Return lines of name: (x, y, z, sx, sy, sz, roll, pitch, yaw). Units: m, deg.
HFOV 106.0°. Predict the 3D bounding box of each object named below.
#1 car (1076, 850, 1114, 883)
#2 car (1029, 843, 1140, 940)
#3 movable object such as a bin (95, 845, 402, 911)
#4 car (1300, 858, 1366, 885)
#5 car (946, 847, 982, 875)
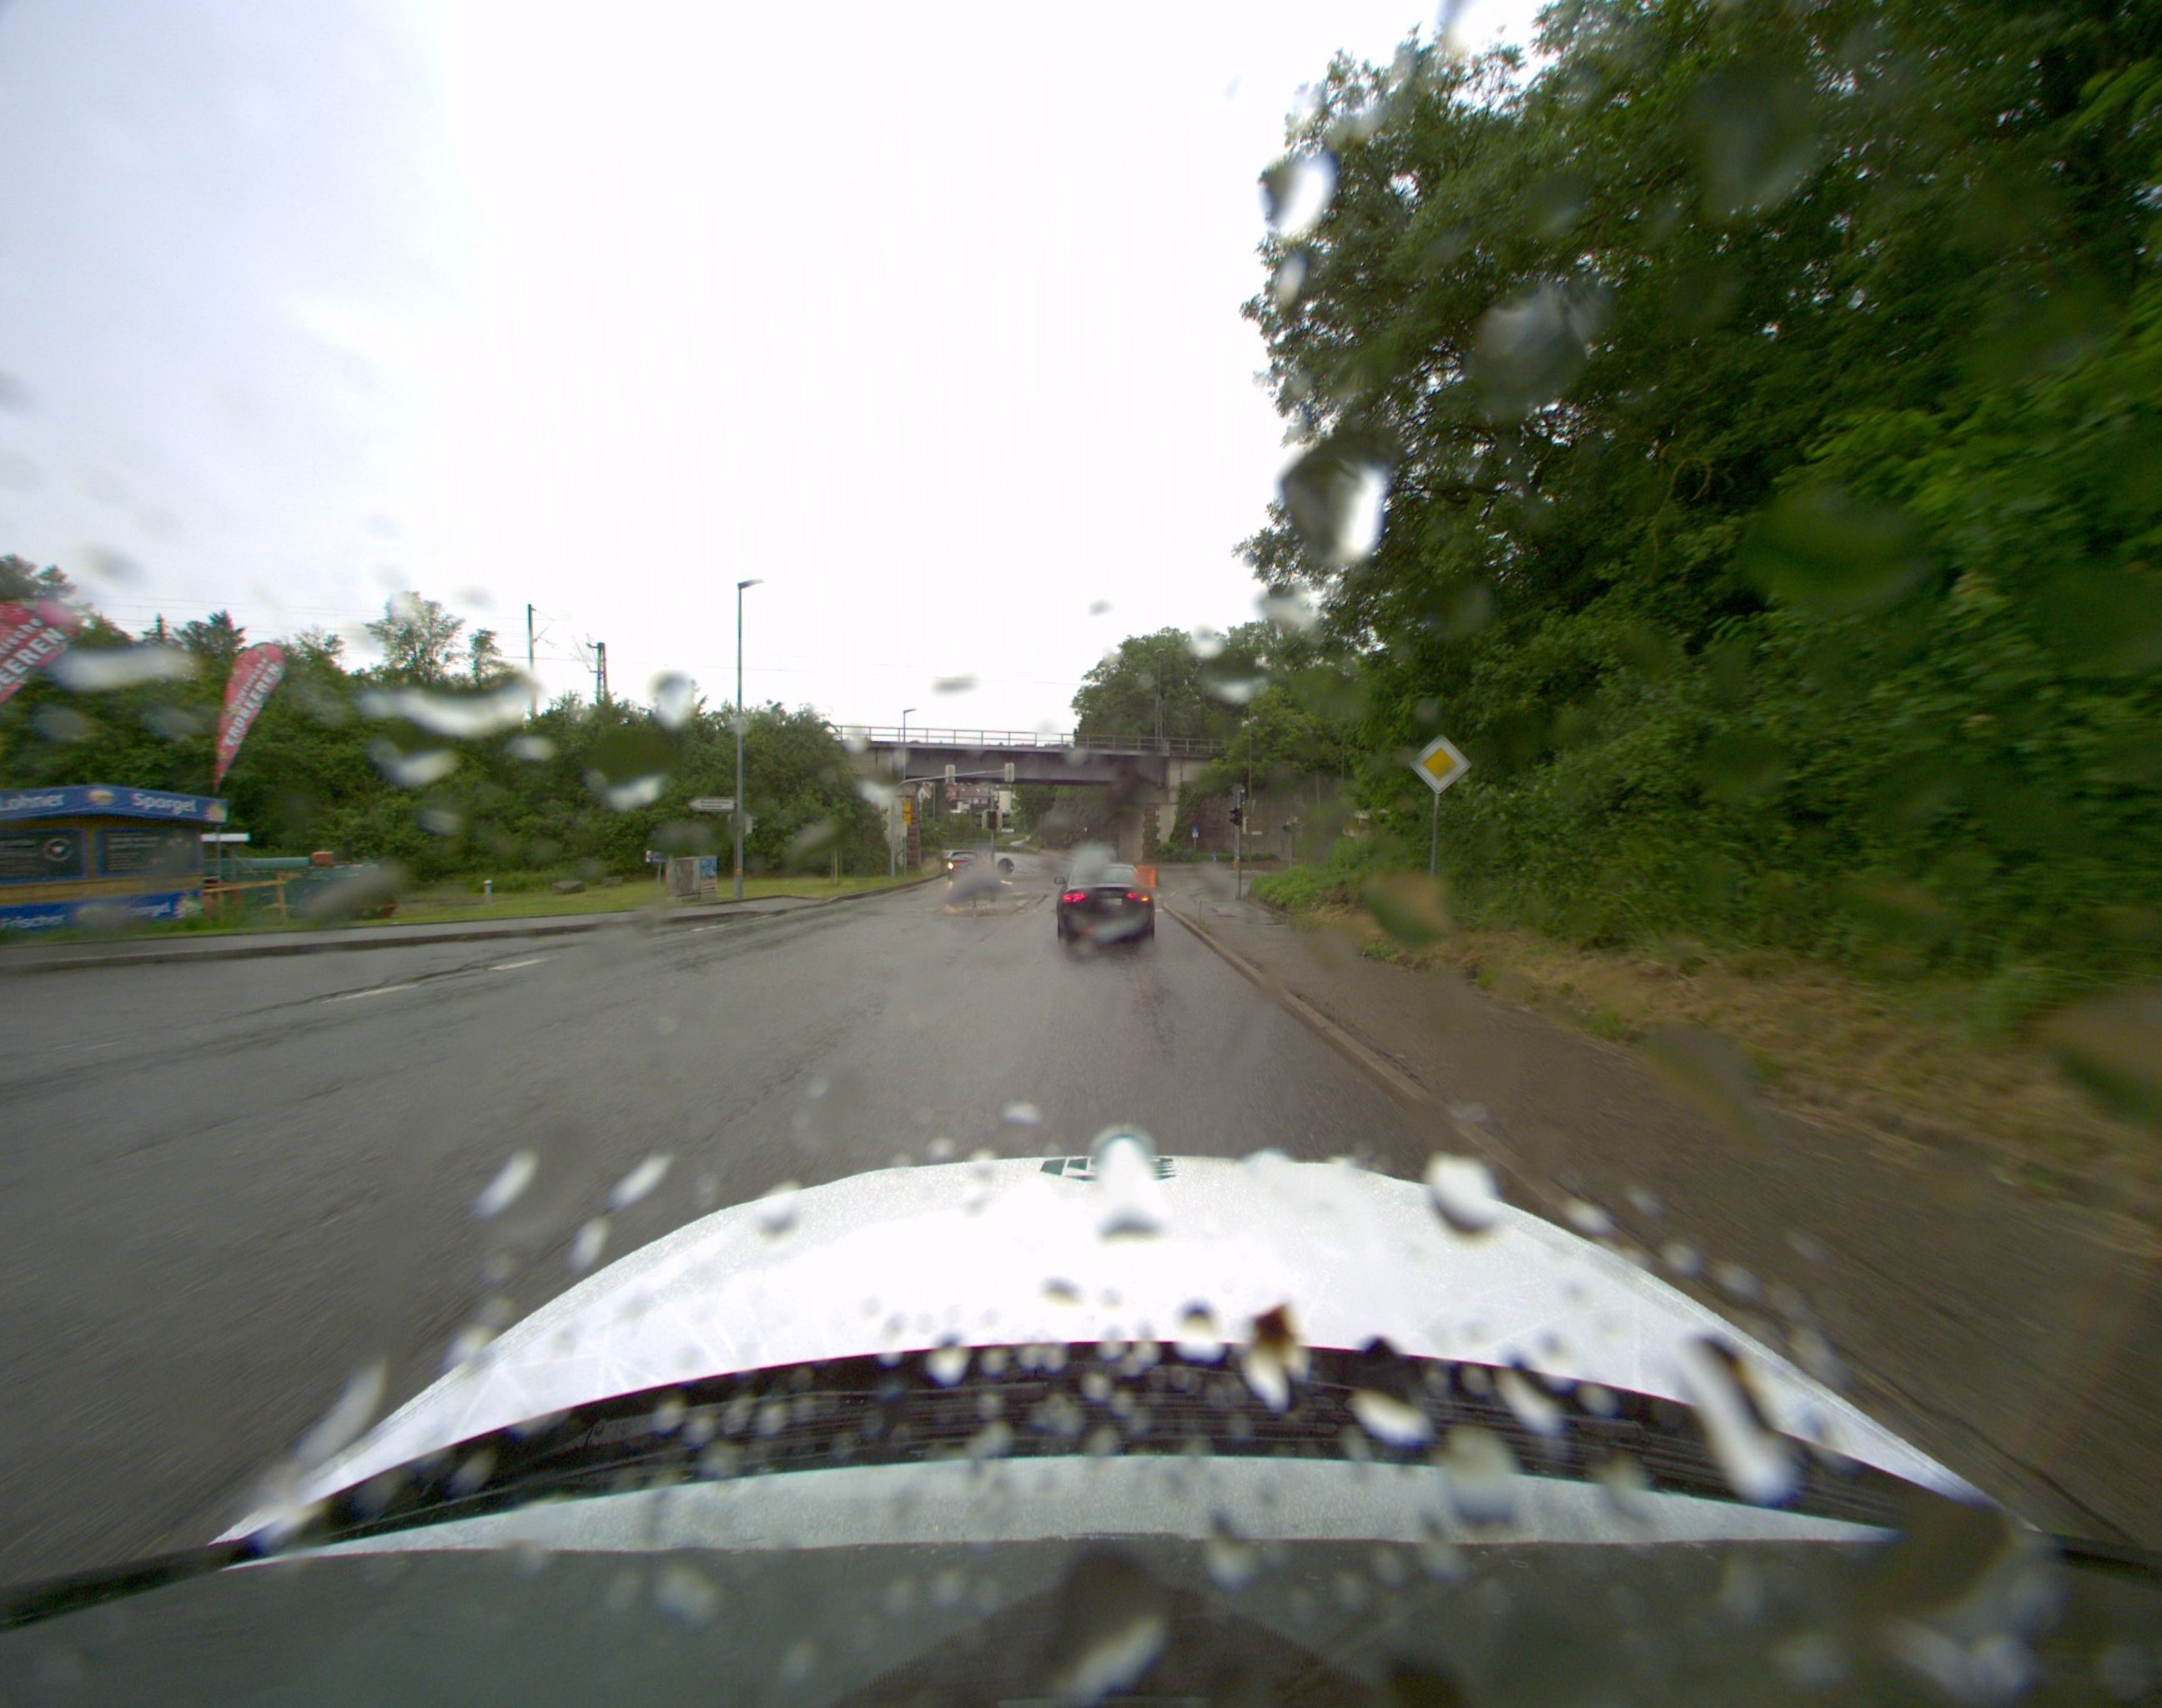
car: (0.753, 0.656, 41.751, 1.816, 1.585, 4.001, -1, -1, 2)
car: (0.122, 0.683, 15.794, 1.863, 1.617, 4.001, -1, -1, 2)
movable object such as a bin: (-23.213, 0.631, 23.020, 2.716, 1.628, 5.816, -2, -2, 41)
car: (15.954, 1.111, 51.603, 3.694, 1.662, 1.488, -1, -1, -6)
car: (-7.231, 0.411, 50.596, 1.990, 1.628, 3.993, -1, 0, -5)
